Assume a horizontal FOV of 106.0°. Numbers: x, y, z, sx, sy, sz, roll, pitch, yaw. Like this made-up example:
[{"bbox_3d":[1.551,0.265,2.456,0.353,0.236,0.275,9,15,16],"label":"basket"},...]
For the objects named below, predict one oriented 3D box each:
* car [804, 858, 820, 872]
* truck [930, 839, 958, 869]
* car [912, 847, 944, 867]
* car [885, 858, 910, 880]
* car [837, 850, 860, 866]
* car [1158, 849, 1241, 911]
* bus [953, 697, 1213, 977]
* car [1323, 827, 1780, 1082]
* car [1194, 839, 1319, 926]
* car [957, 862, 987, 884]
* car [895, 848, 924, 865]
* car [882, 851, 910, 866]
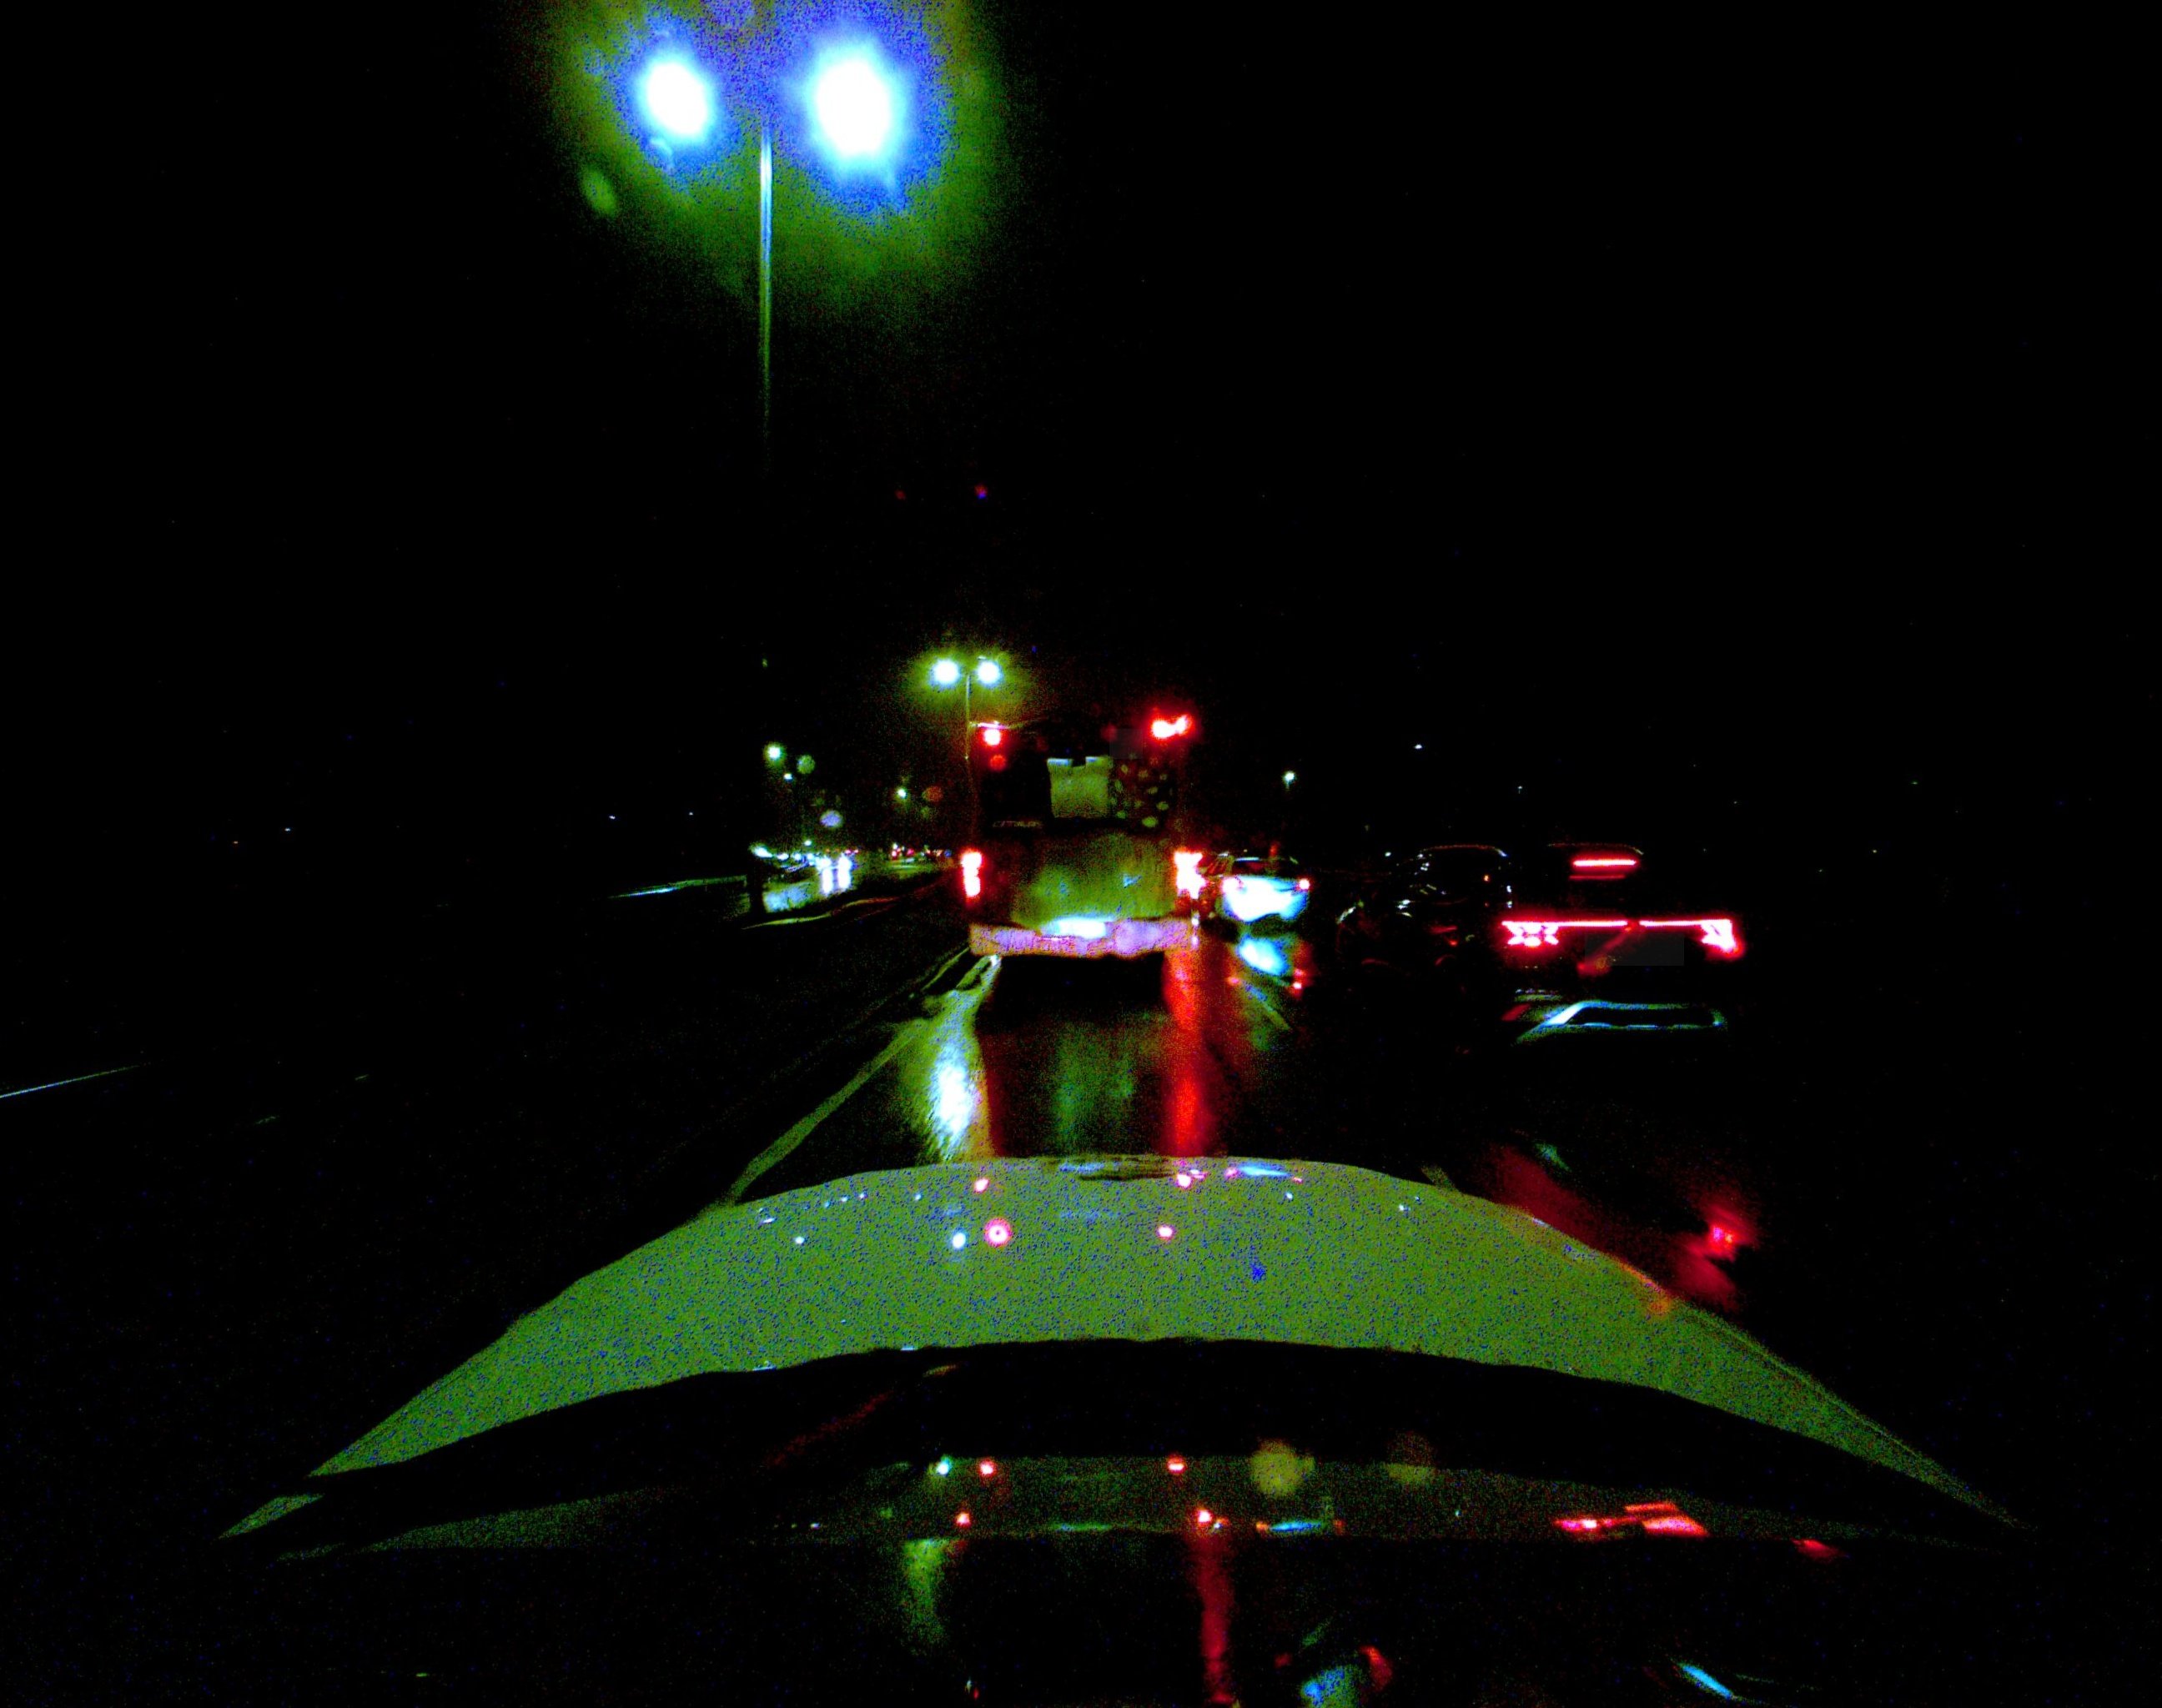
[{"bbox_3d":[-32.420,1.288,98.260,1.792,1.646,3.974,-1,0,-19],"label":"car"},{"bbox_3d":[-12.215,-0.047,72.433,1.860,2.392,4.753,-2,3,-16],"label":"truck"},{"bbox_3d":[-16.051,0.329,85.330,2.007,2.013,3.959,-1,0,-33],"label":"car"},{"bbox_3d":[-18.049,1.452,80.052,1.999,2.014,3.975,-1,0,-18],"label":"car"},{"bbox_3d":[-30.536,0.576,106.863,2.223,2.013,3.965,-1,0,-27],"label":"car"},{"bbox_3d":[3.277,0.677,23.172,1.814,1.590,3.776,-1,0,0],"label":"car"},{"bbox_3d":[0.143,-0.181,13.149,2.805,3.024,8.690,0,0,2],"label":"bus"},{"bbox_3d":[3.484,0.626,6.939,1.734,1.565,3.776,1,0,0],"label":"car"},{"bbox_3d":[3.556,0.533,17.185,1.814,1.590,3.776,-1,0,0],"label":"car"},{"bbox_3d":[-7.884,1.329,59.024,1.991,1.486,3.992,-1,0,-6],"label":"car"},{"bbox_3d":[-20.811,0.334,98.717,2.009,2.013,3.955,-1,0,-37],"label":"car"},{"bbox_3d":[-20.871,0.468,91.978,1.765,1.631,3.582,1,-1,-37],"label":"car"}]
